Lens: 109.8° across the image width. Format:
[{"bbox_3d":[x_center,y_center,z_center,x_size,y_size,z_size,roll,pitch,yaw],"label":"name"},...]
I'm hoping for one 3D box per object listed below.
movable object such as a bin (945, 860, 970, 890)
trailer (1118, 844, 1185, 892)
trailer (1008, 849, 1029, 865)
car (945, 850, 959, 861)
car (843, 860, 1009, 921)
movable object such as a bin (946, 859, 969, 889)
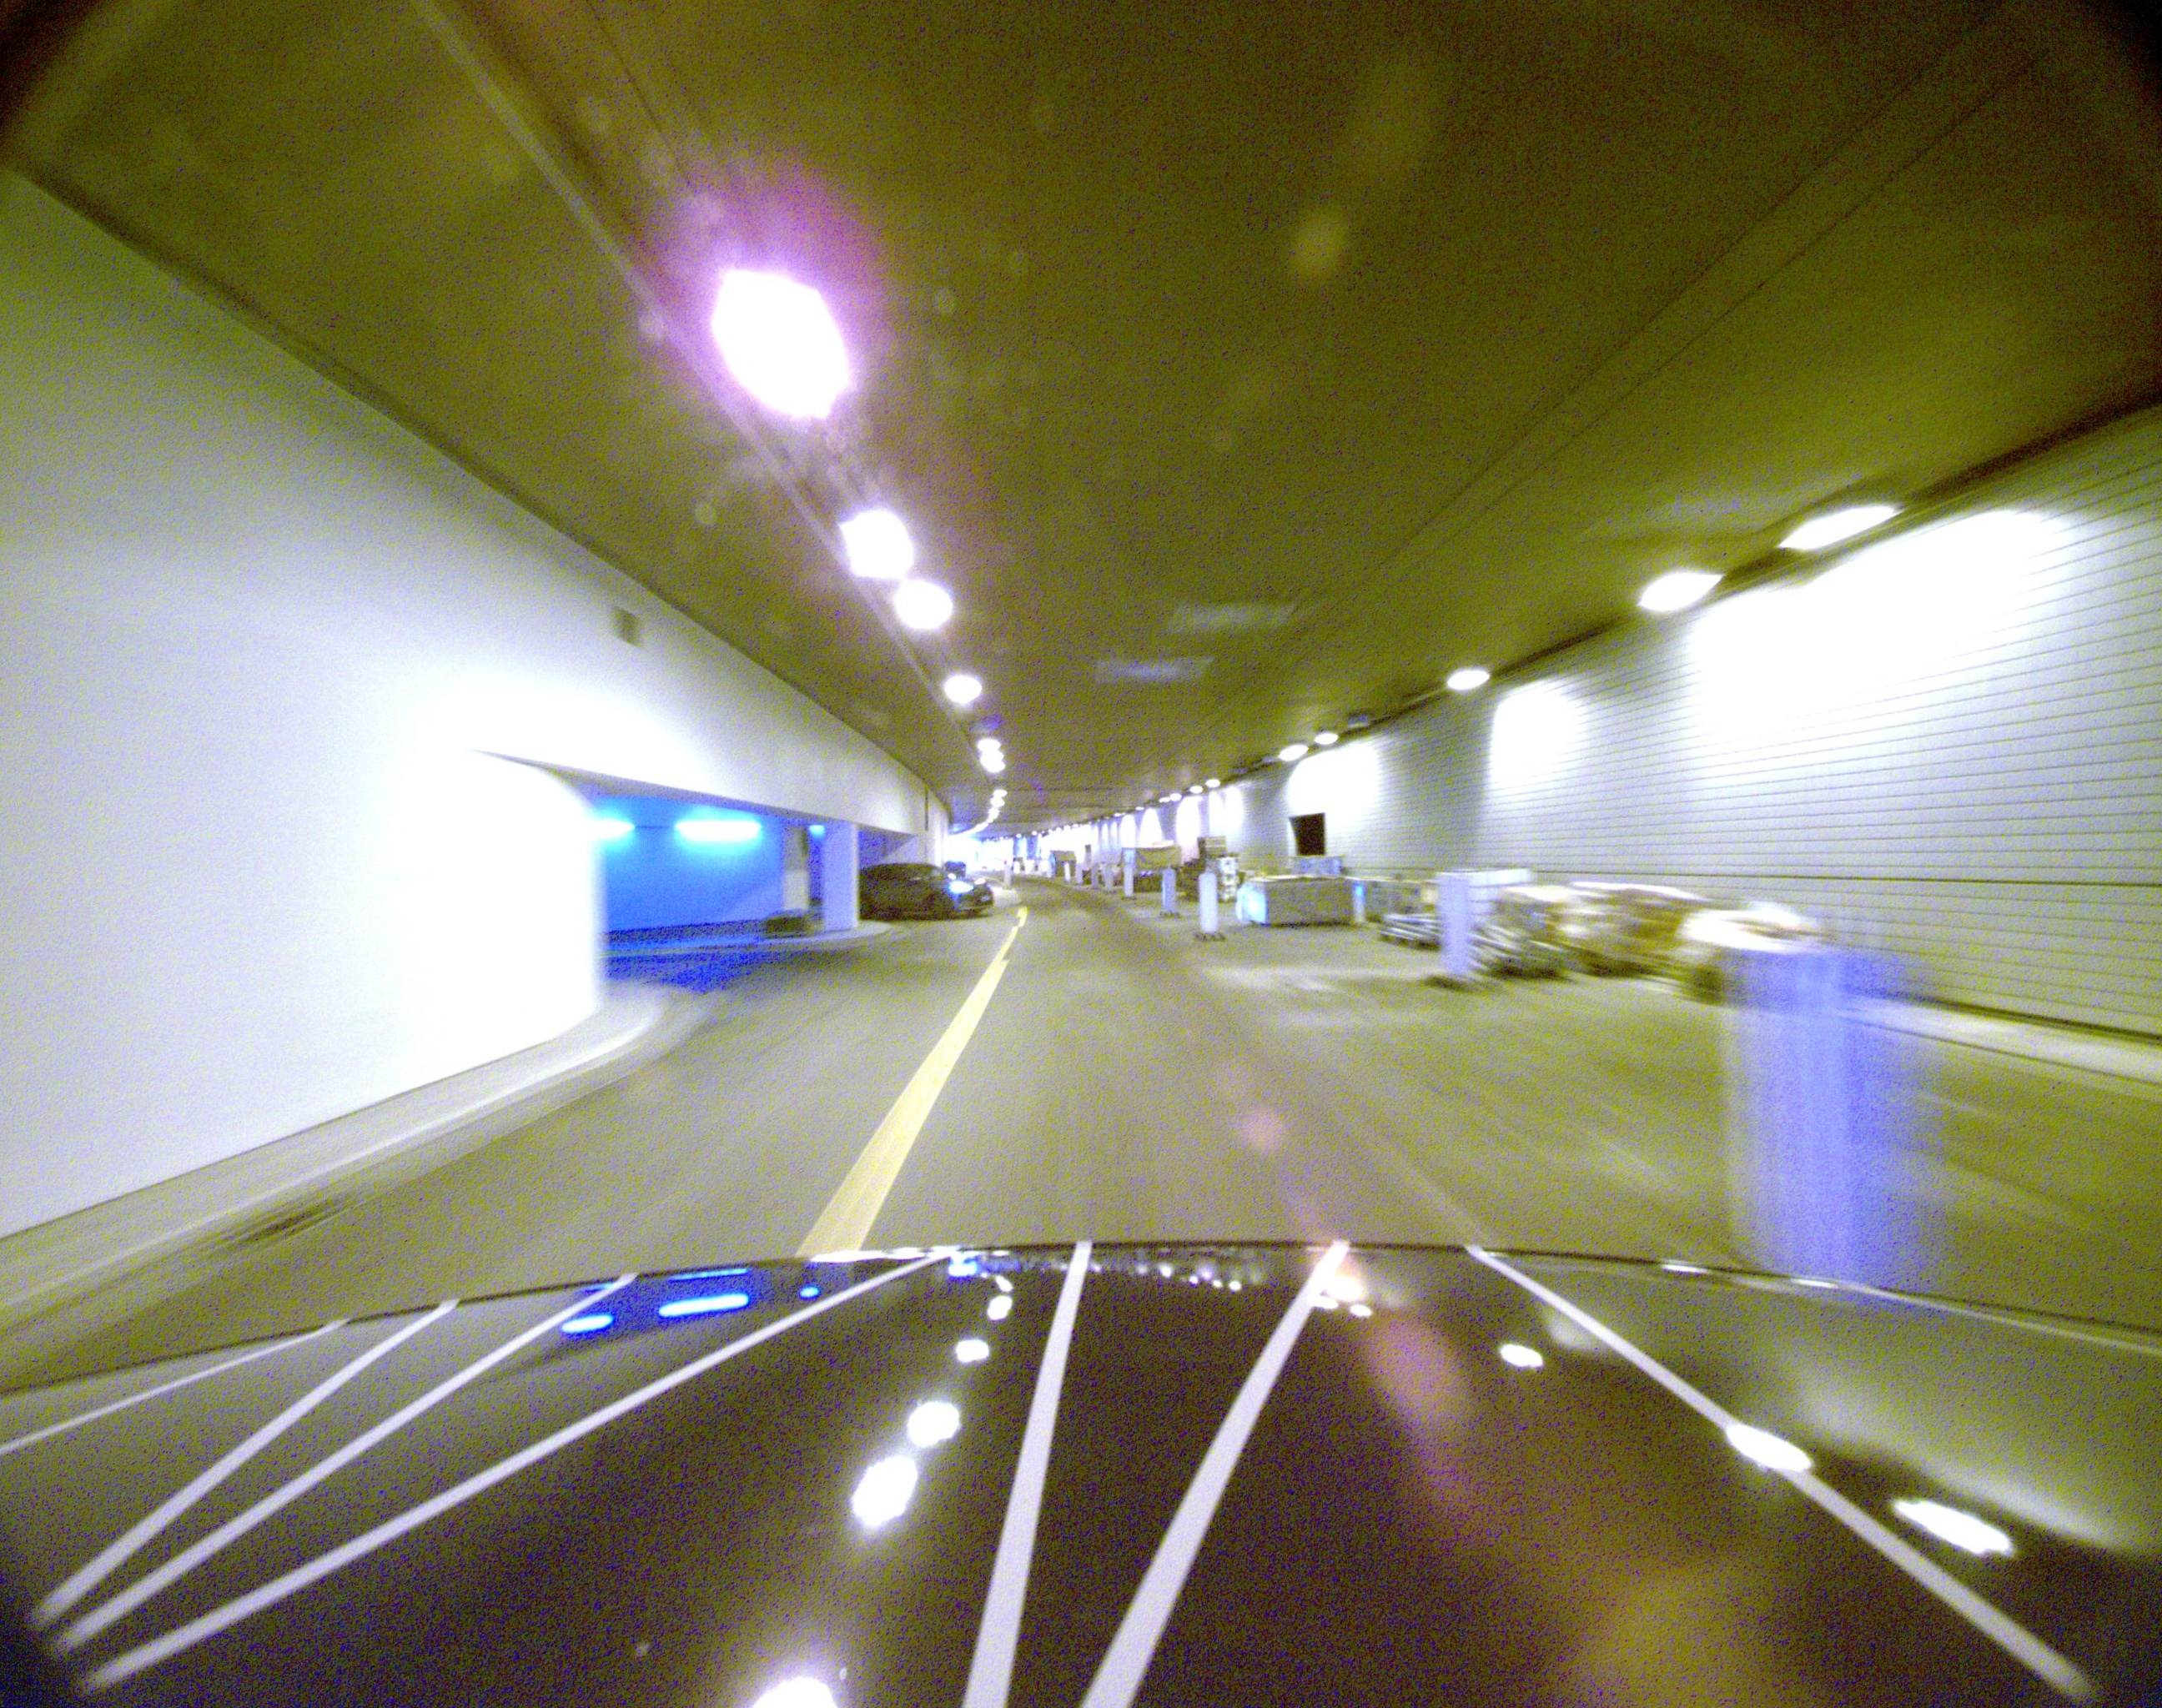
[{"bbox_3d":[-6.119,1.026,37.809,1.149,1.437,1.362,-2,1,-8],"label":"movable object such as a bin"},{"bbox_3d":[3.135,0.602,34.593,2.215,2.002,3.463,-2,1,-9],"label":"trailer"},{"bbox_3d":[-7.027,0.324,85.611,1.645,1.781,3.117,-2,1,-17],"label":"trailer"},{"bbox_3d":[-22.635,0.280,133.721,2.001,1.743,3.994,-2,1,-15],"label":"car"},{"bbox_3d":[-4.357,0.995,21.346,4.230,1.537,1.901,-1,1,25],"label":"car"},{"bbox_3d":[-6.366,1.021,39.181,1.101,1.437,1.321,-2,1,-8],"label":"movable object such as a bin"}]
